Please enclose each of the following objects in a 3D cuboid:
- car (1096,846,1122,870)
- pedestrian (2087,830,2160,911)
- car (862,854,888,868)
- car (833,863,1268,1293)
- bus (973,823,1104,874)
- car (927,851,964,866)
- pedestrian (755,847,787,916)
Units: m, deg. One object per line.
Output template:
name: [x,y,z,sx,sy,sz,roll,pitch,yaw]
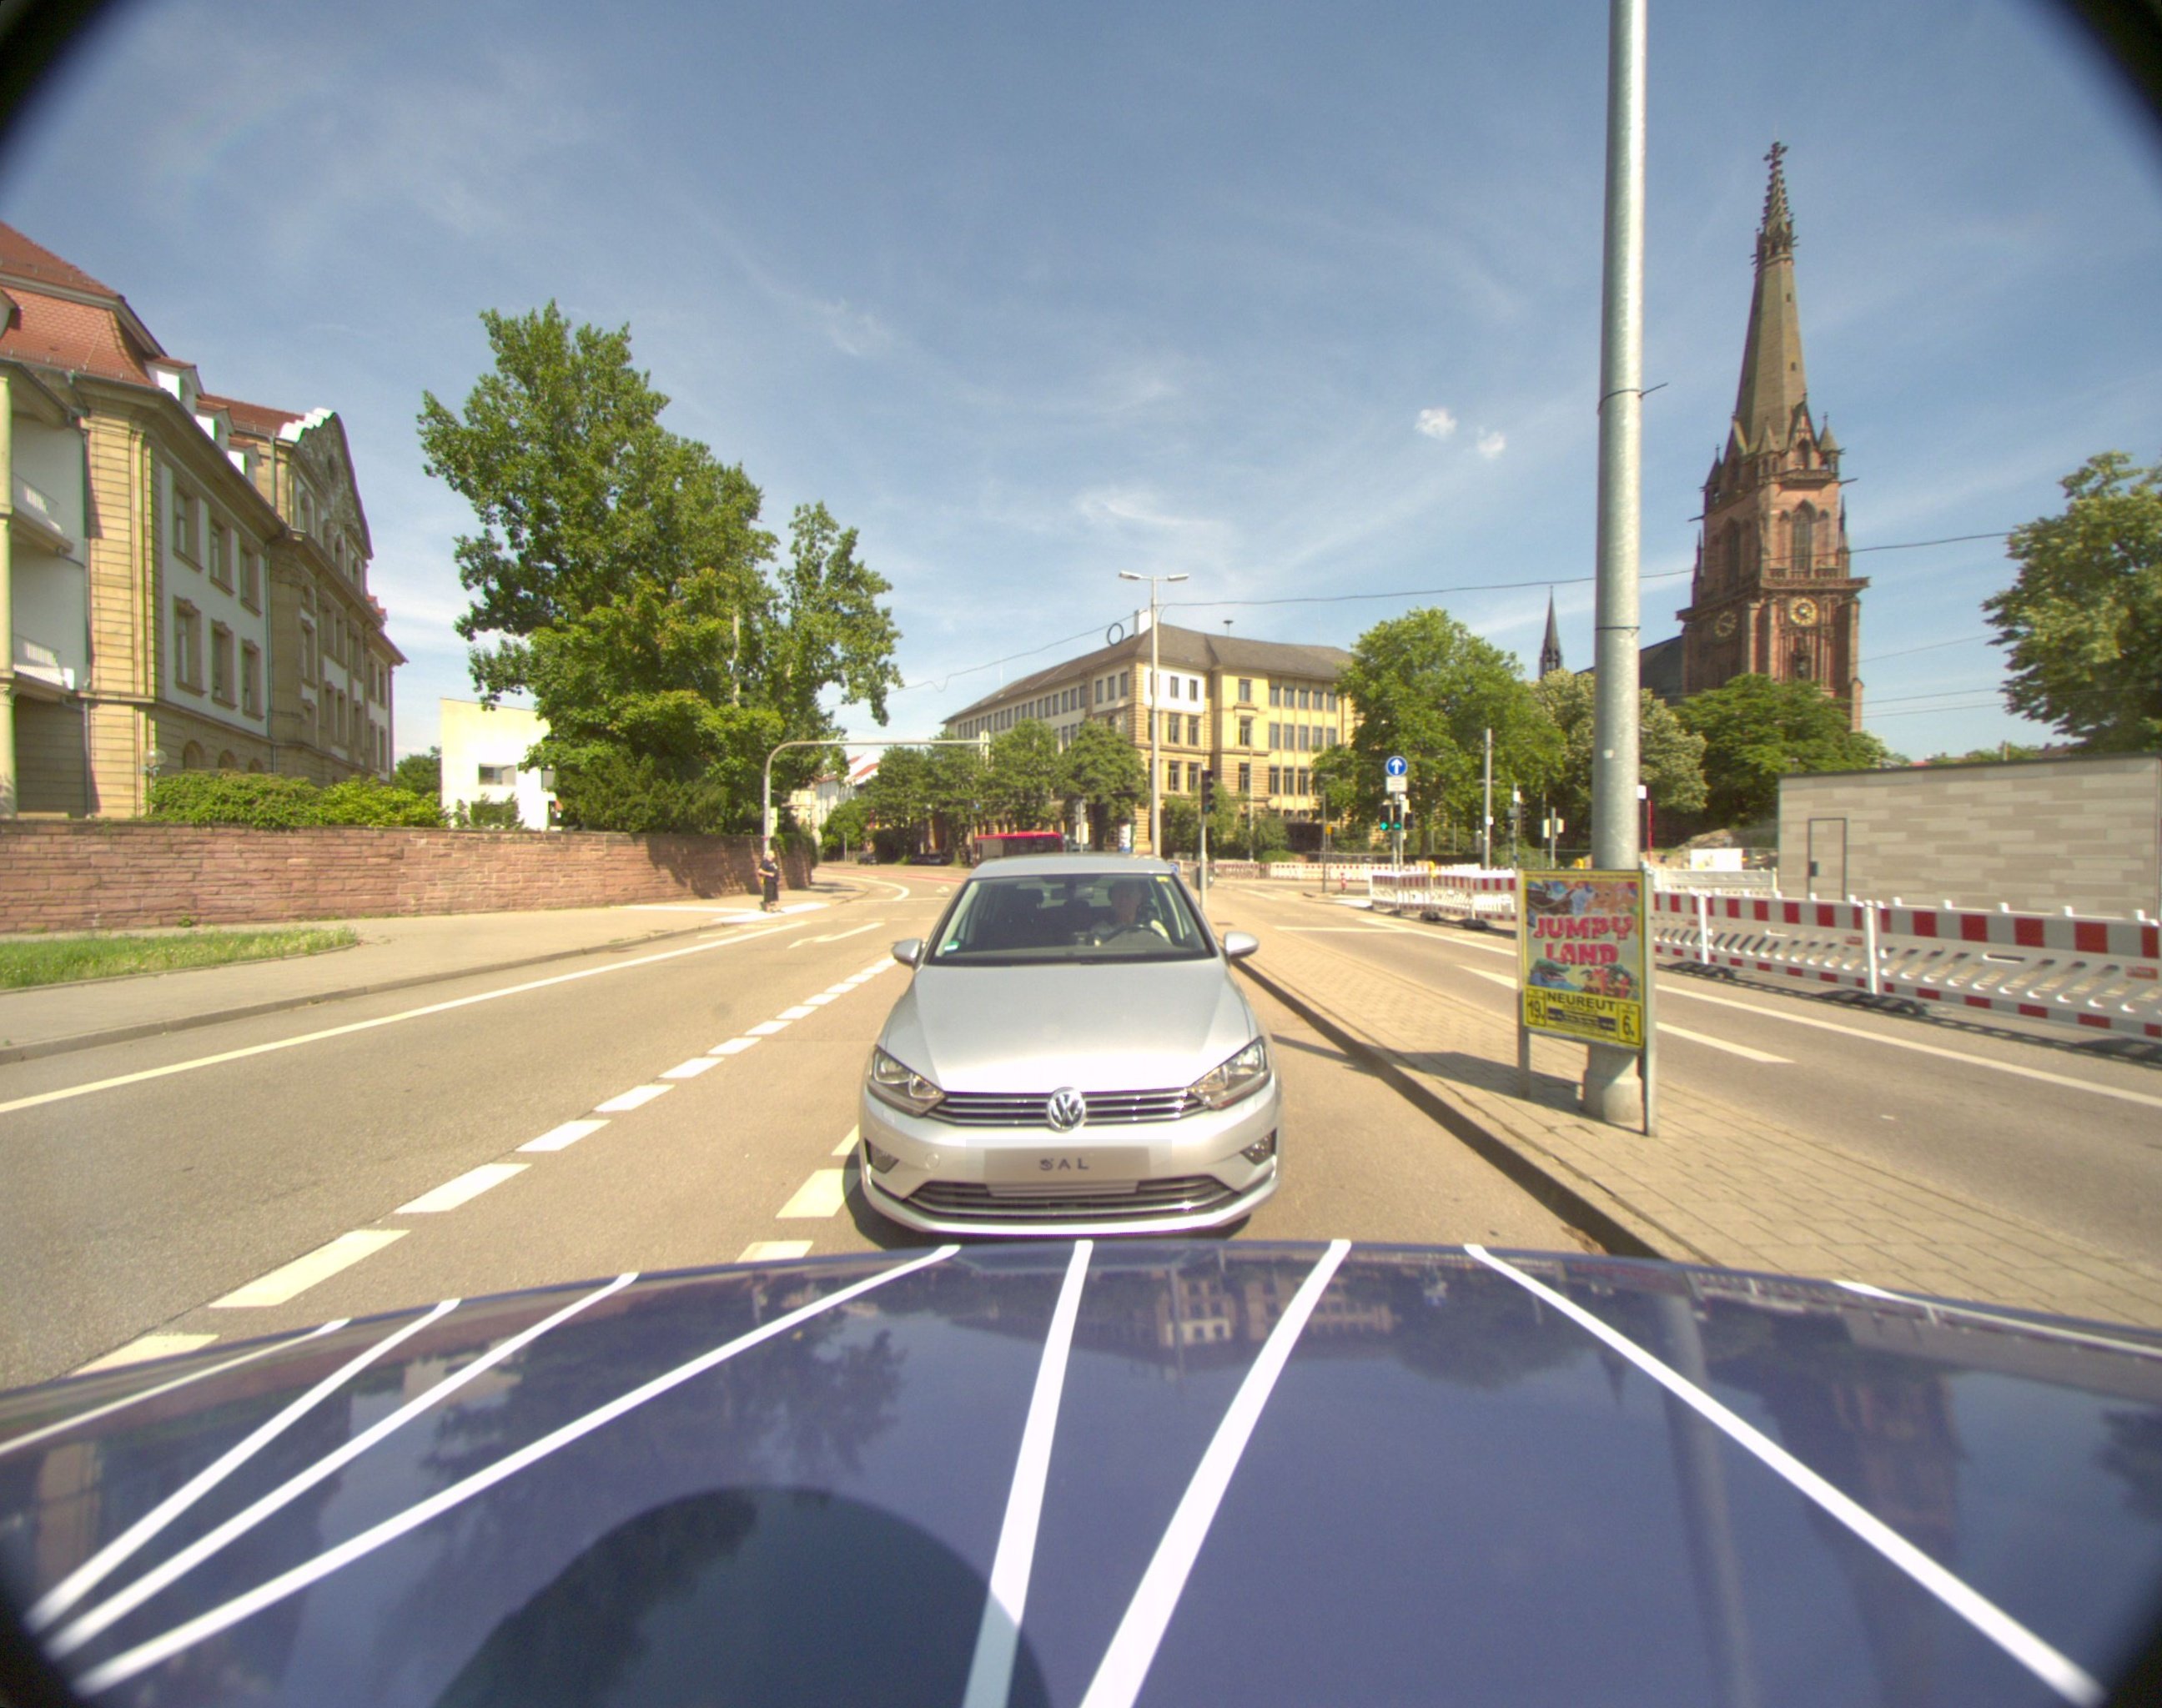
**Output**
car: [1.965,0.252,53.419,1.665,1.565,3.632,1,0,0]
pedestrian: [26.460,0.415,19.301,0.820,2.002,0.686,1,1,3]
car: [-25.168,0.822,92.625,2.003,1.608,3.990,-3,1,-31]
car: [-0.029,0.890,5.032,1.687,1.577,4.152,0,0,3]
bus: [-3.308,-0.285,52.743,3.138,3.076,12.382,-3,1,-34]
car: [-16.745,0.504,93.784,4.006,1.653,1.994,-3,4,-35]
pedestrian: [-9.154,0.788,22.462,0.796,2.002,0.615,0,1,-14]
